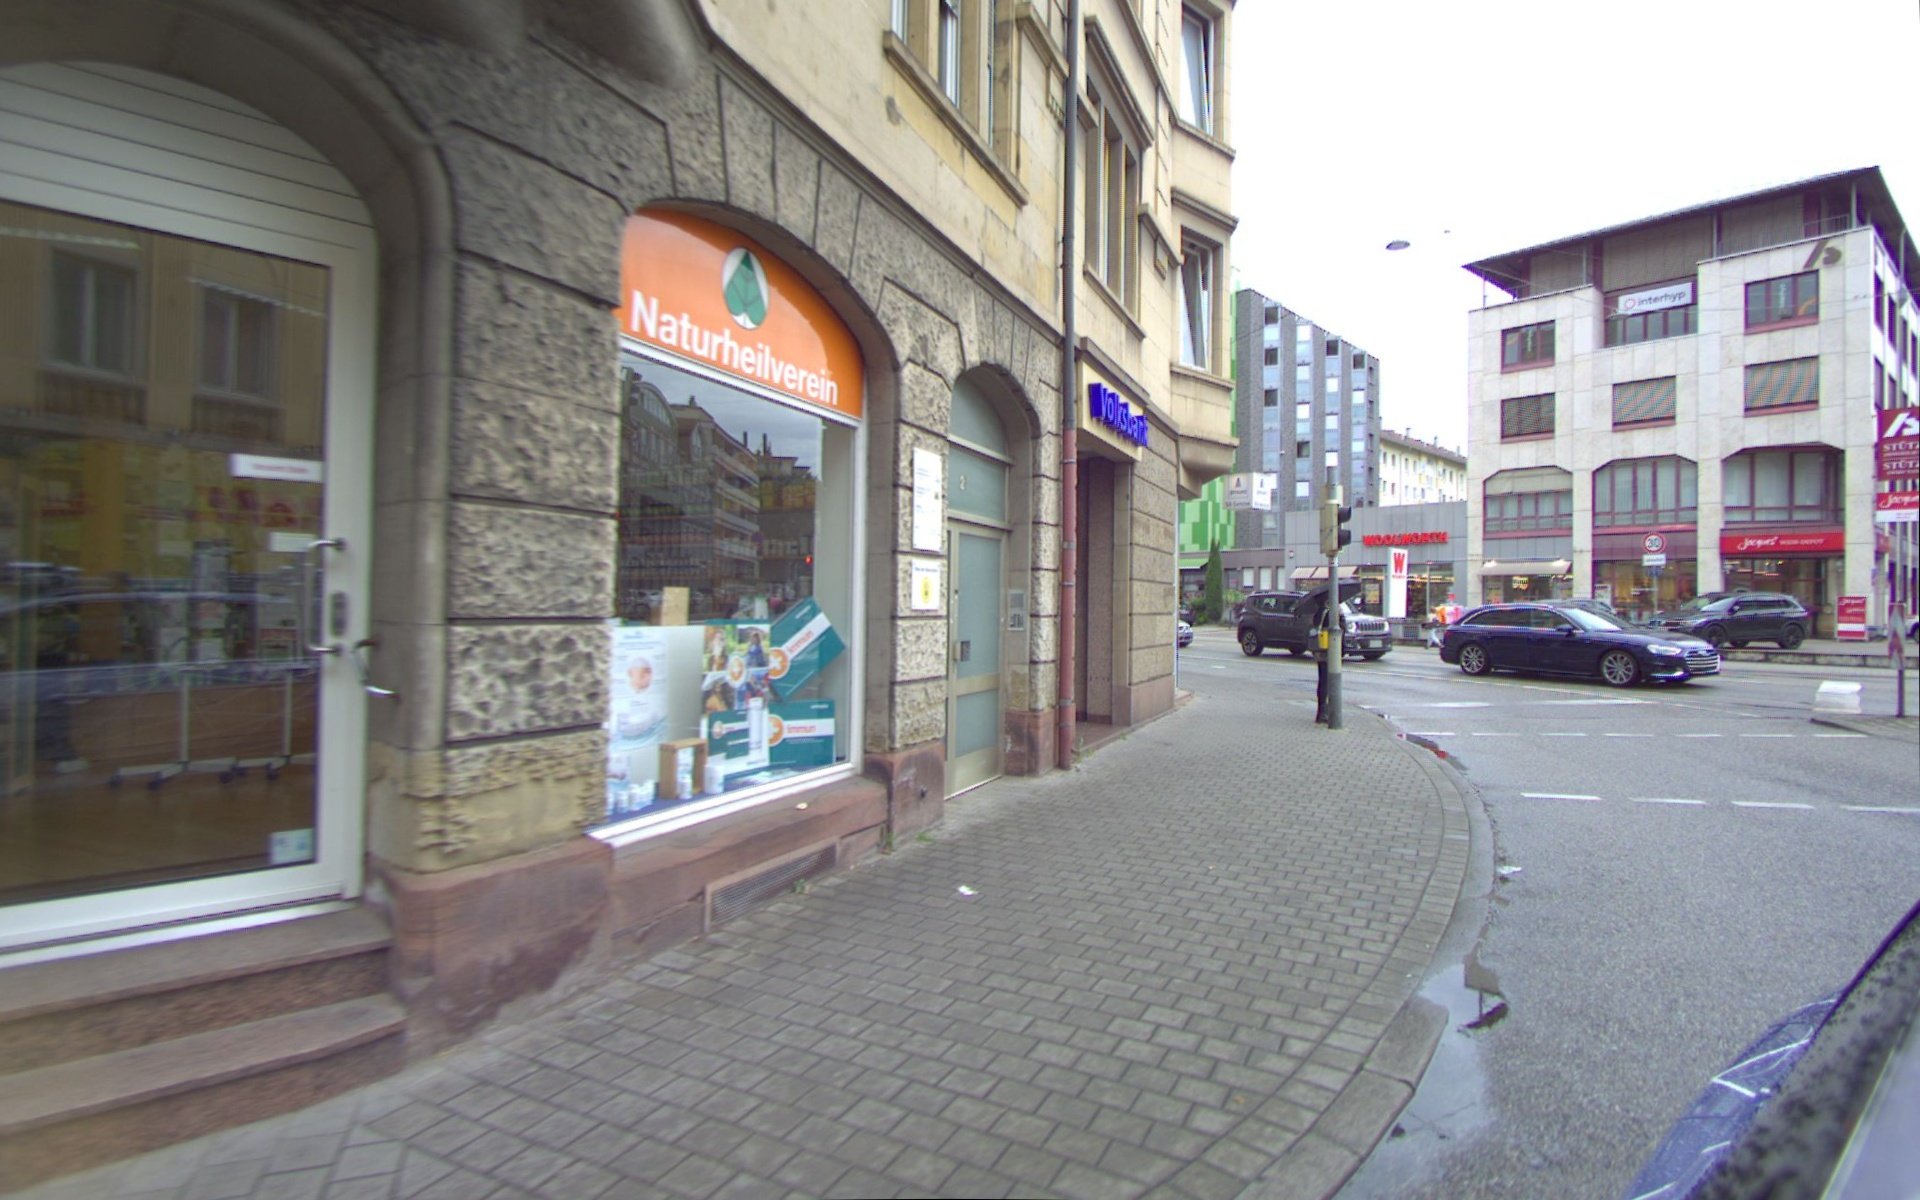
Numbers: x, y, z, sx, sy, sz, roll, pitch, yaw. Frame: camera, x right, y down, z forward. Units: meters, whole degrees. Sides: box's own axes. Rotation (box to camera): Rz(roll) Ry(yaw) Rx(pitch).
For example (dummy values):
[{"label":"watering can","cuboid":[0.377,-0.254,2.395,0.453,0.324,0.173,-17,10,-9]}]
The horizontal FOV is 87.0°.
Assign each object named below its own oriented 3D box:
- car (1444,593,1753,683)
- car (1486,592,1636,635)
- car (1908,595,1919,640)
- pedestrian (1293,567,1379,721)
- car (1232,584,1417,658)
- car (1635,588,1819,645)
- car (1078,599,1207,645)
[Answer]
[{"label":"car","cuboid":[11.481,0.584,18.607,1.893,1.434,4.538,0,0,-23]},{"label":"car","cuboid":[20.249,0.424,34.185,4.112,1.378,1.937,0,0,-12]},{"label":"car","cuboid":[33.384,0.593,32.517,1.764,1.513,4.006,0,0,-8]},{"label":"pedestrian","cuboid":[4.661,0.505,12.502,0.944,1.802,1.175,0,0,23]},{"label":"car","cuboid":[8.934,0.457,25.185,1.893,1.681,4.207,0,0,-26]},{"label":"car","cuboid":[22.304,0.442,29.489,4.169,1.569,1.936,0,0,-10]},{"label":"car","cuboid":[5.675,0.645,31.960,1.893,1.299,4.207,0,1,-26]}]
